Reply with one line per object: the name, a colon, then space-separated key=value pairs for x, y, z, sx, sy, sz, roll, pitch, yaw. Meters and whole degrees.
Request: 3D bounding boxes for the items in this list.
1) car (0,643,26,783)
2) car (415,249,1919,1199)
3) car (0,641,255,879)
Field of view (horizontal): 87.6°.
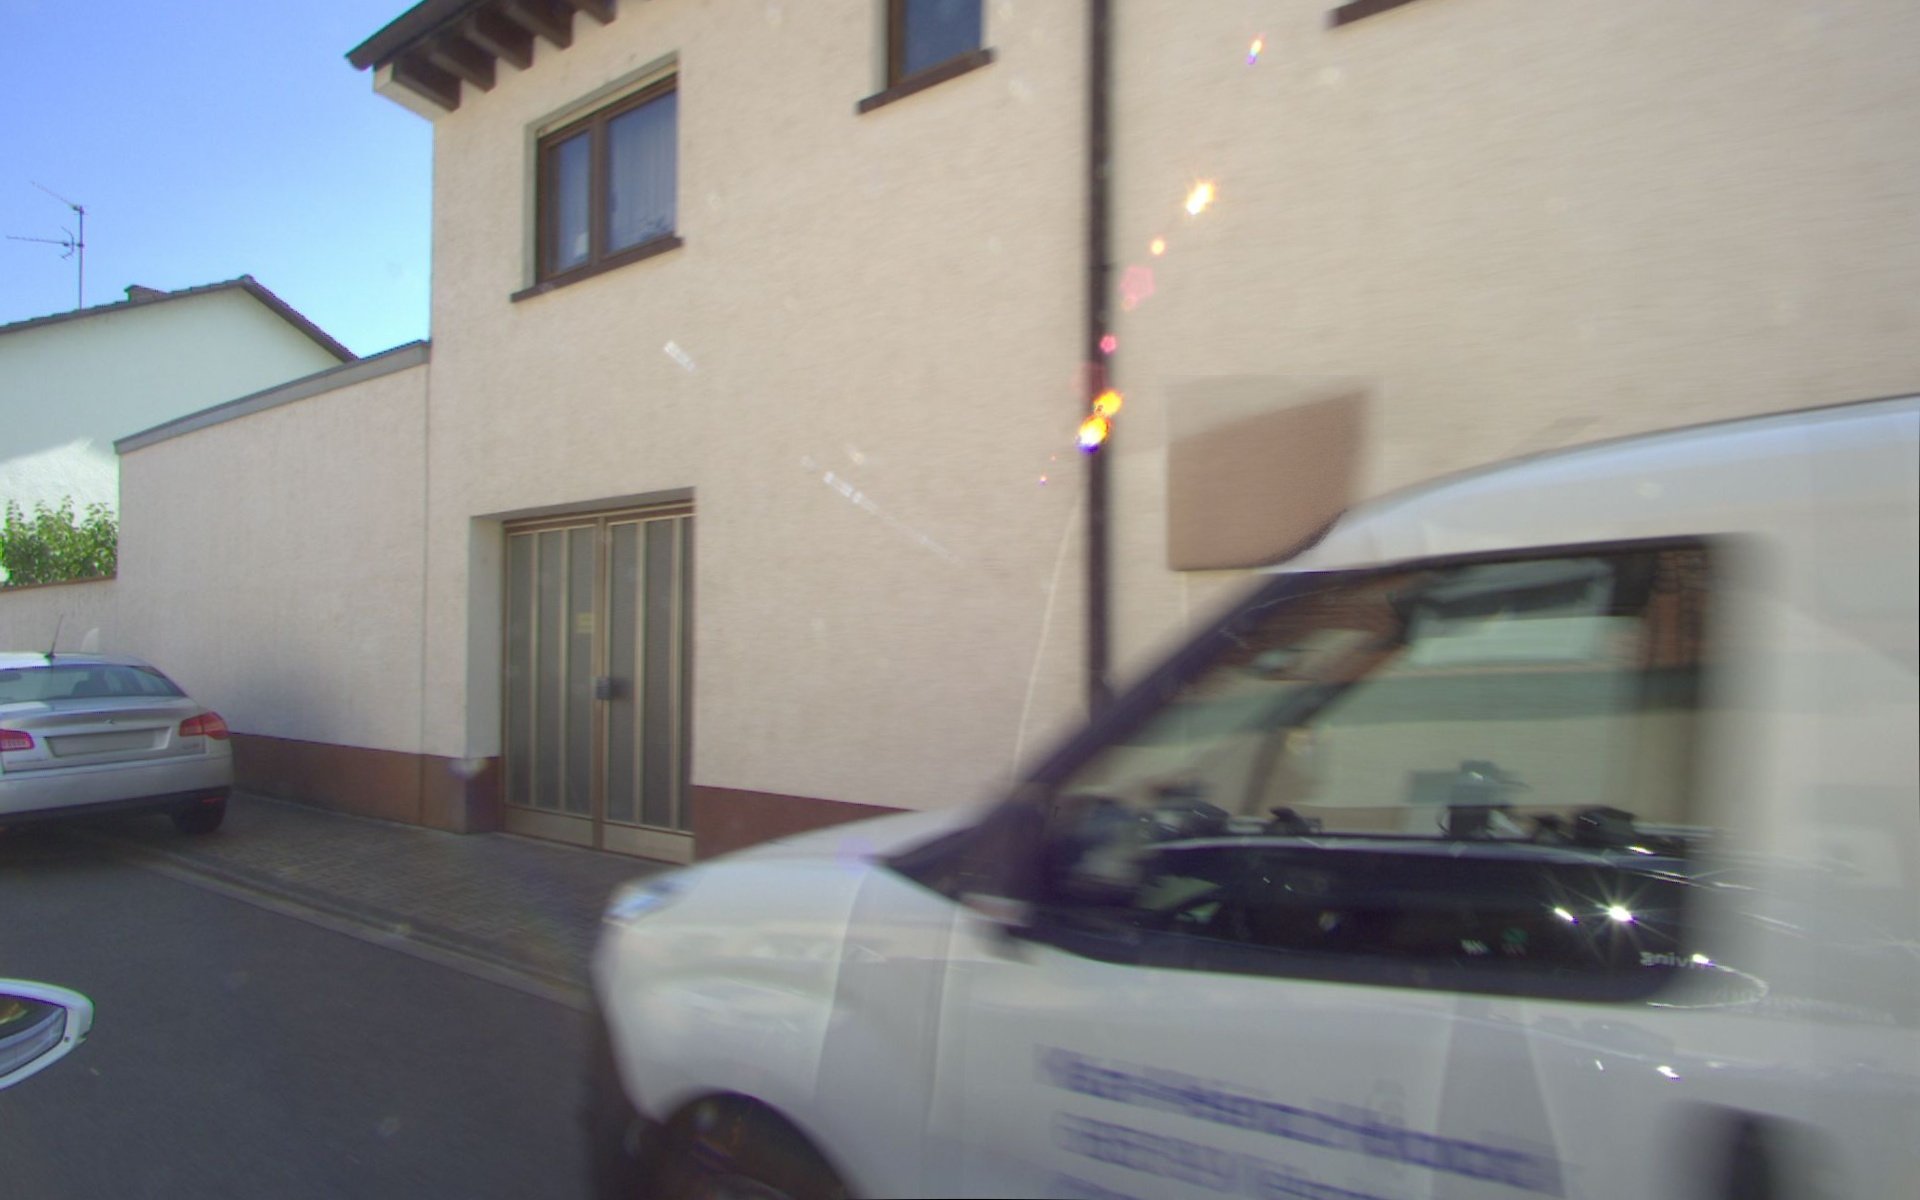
car: x=-12.069 y=1.210 z=11.044 sx=4.077 sy=1.454 sz=1.646 roll=-2 pitch=-3 yaw=33
car: x=1.287 y=0.651 z=1.765 sx=4.782 sy=1.846 sz=1.808 roll=-2 pitch=-5 yaw=32
car: x=-7.871 y=1.118 z=8.264 sx=4.867 sy=1.500 sz=1.786 roll=-2 pitch=-2 yaw=34
